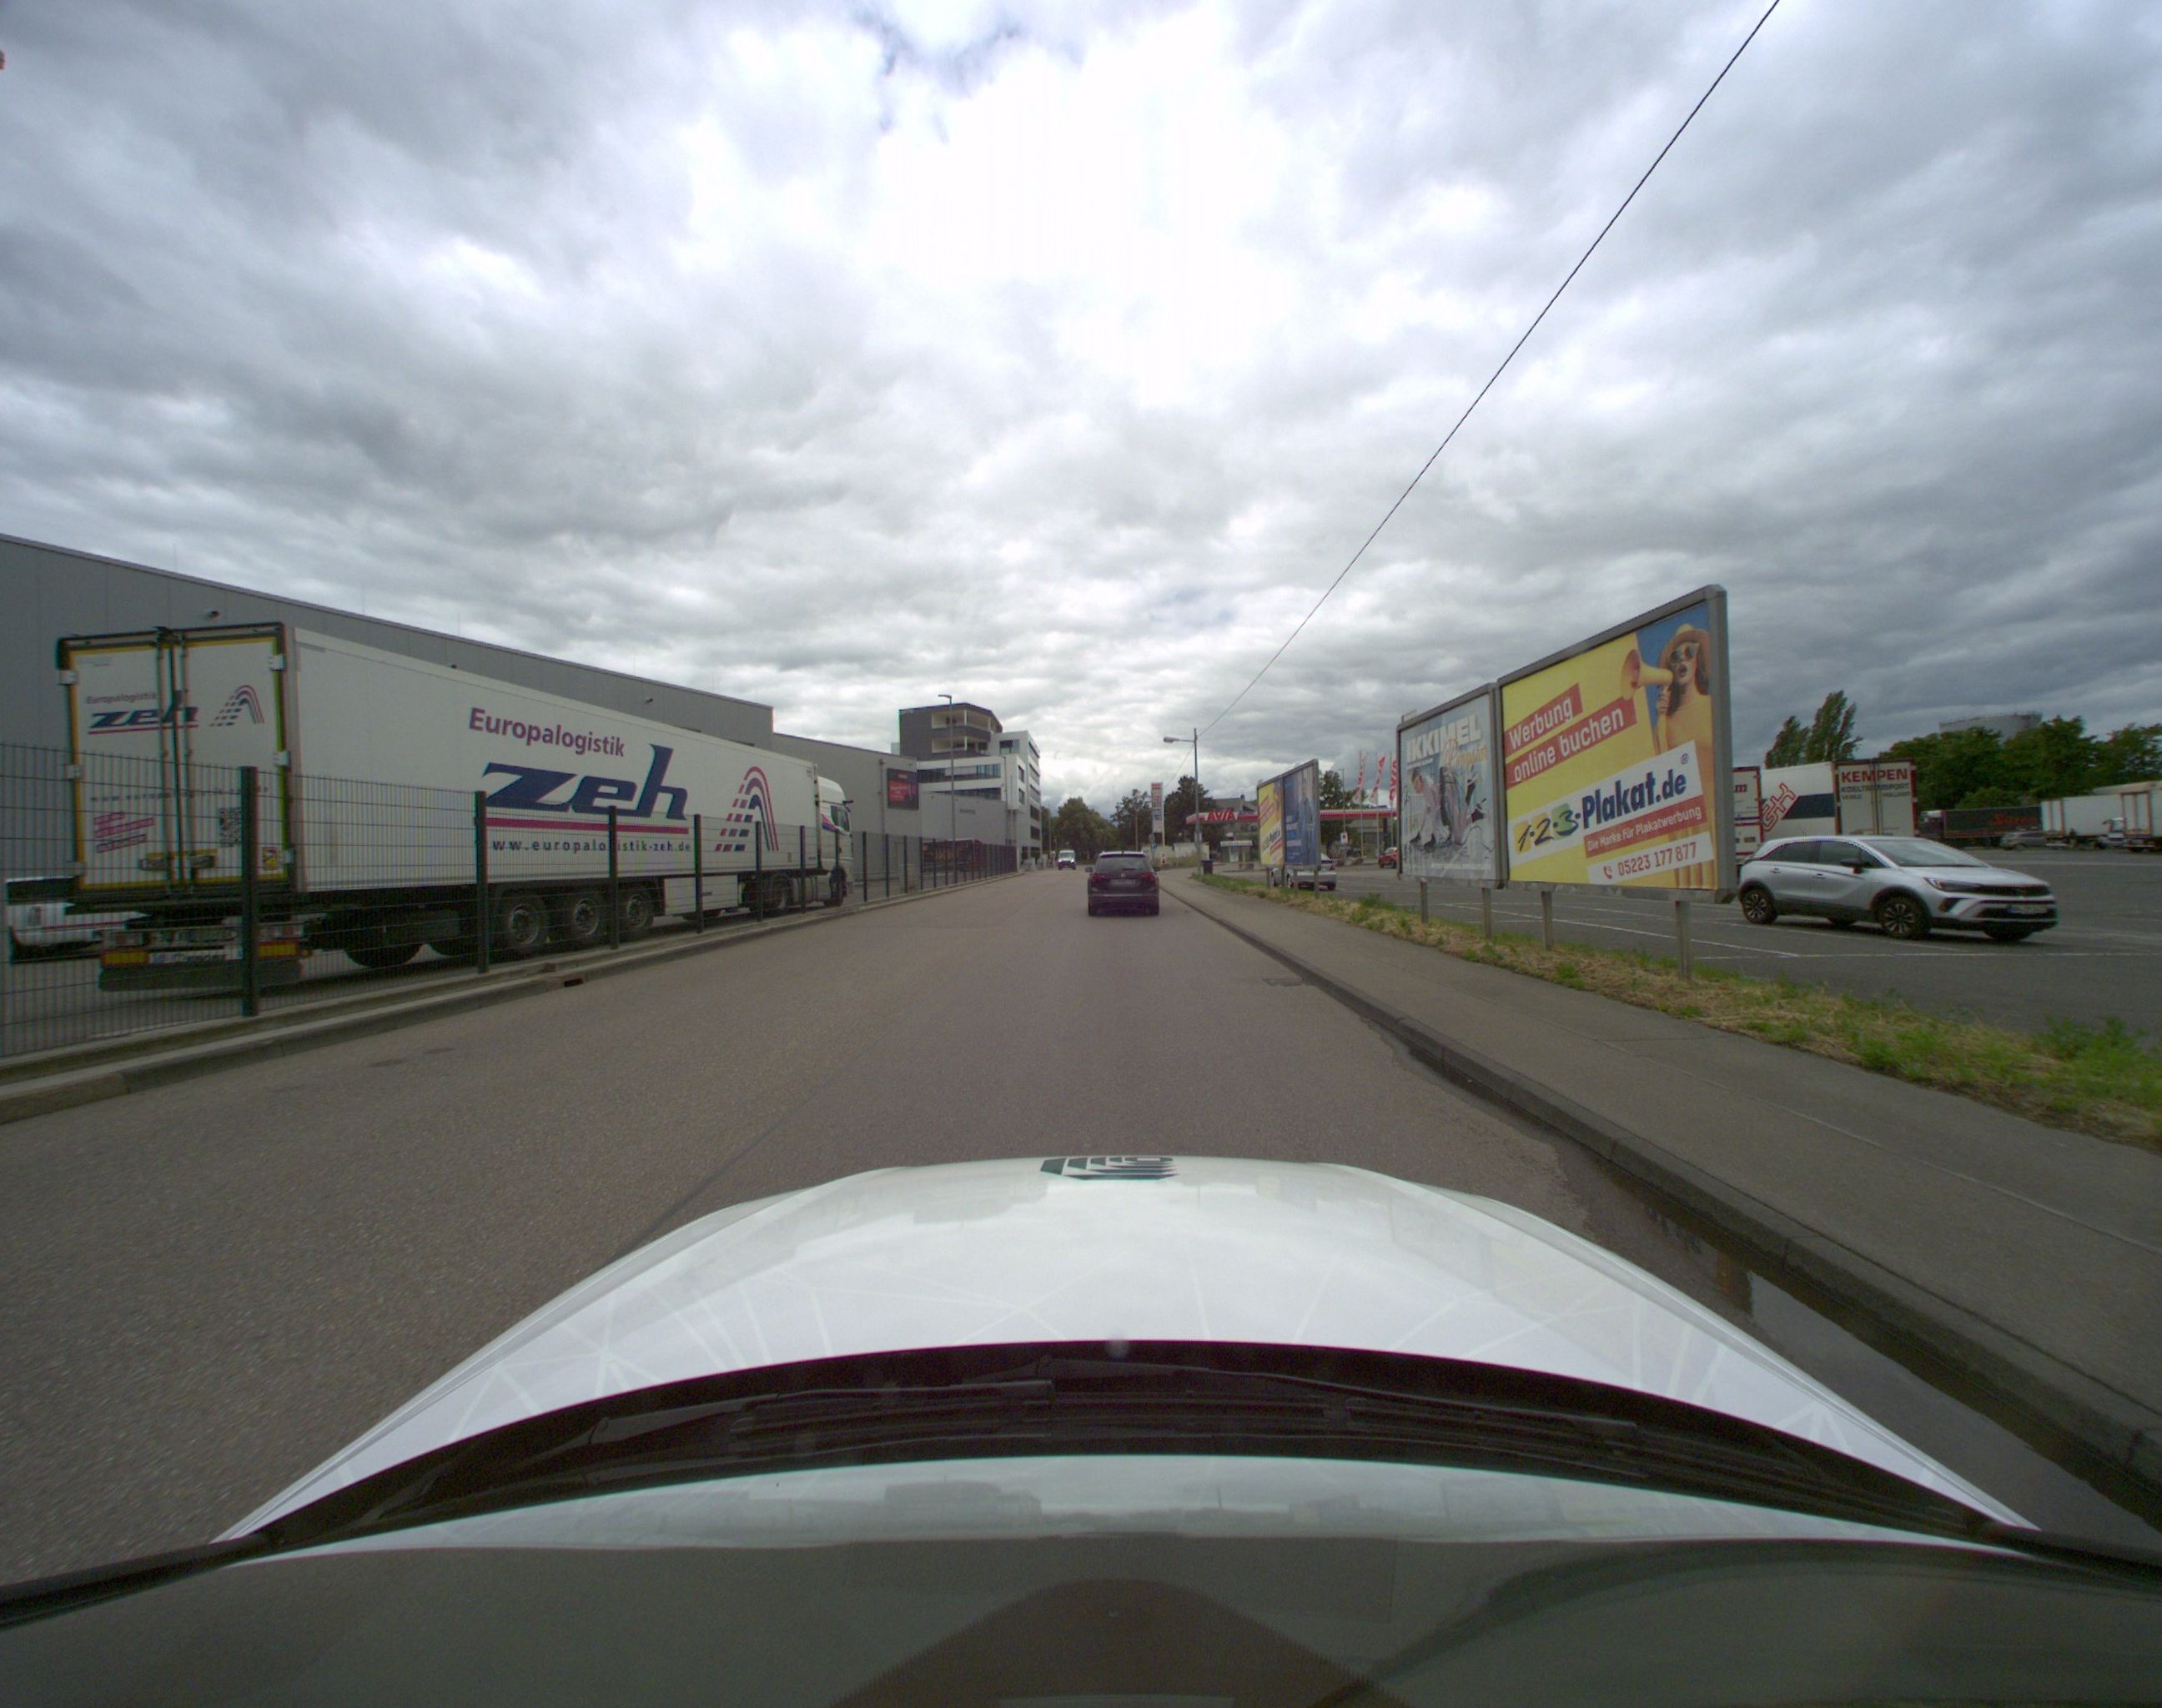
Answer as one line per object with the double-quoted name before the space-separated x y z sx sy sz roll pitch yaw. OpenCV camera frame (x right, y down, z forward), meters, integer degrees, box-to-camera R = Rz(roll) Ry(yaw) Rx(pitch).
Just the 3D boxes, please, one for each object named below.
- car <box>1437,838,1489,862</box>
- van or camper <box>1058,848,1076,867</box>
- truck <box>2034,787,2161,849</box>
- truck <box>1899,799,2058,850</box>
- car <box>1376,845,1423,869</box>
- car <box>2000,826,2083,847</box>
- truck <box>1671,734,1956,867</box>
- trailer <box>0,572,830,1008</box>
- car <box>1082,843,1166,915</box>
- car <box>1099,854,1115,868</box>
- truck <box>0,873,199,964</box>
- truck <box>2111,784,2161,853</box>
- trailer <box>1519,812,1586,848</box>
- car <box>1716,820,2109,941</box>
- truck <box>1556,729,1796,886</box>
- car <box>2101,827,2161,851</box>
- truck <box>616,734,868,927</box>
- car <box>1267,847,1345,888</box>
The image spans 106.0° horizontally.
"car" 29.124 -0.318 62.258 1.987 1.706 4.187 -2 0 0
"van or camper" -1.701 0.423 98.553 1.986 2.256 4.001 -1 0 2
"truck" 79.064 -2.719 61.467 8.763 4.378 3.062 -1 1 23
"truck" 85.023 -2.722 77.476 9.537 4.390 3.410 -1 1 25
"car" 24.318 0.238 62.262 1.987 1.706 3.999 -2 0 0
"car" 80.523 -1.459 68.361 4.045 1.578 1.906 -2 0 21
"truck" 26.532 -1.718 30.360 3.293 4.145 8.523 -2 0 4
"trailer" -9.175 -0.635 15.495 3.119 4.260 14.036 -5 -1 4
"car" 1.112 0.628 21.902 1.986 1.684 4.373 -1 -1 2
"car" 3.225 0.866 101.991 1.986 1.684 4.372 -2 1 1
"truck" -21.518 1.302 17.199 4.871 1.652 2.239 -2 0 21
"truck" 73.067 -2.398 51.289 9.749 4.378 3.310 -1 1 23
"trailer" 51.729 -2.620 89.591 3.003 3.693 7.492 -2 1 0
"car" 13.089 0.374 13.340 1.884 1.612 4.427 -1 0 0
"truck" 22.202 -1.558 31.275 3.293 5.093 8.522 -2 0 4
"car" 72.993 -1.054 55.403 4.045 1.578 1.906 -2 0 21
"truck" -8.646 -0.514 22.027 3.114 4.116 6.950 -5 -1 5
"car" 8.503 0.505 31.158 1.882 1.445 4.431 0 0 2
